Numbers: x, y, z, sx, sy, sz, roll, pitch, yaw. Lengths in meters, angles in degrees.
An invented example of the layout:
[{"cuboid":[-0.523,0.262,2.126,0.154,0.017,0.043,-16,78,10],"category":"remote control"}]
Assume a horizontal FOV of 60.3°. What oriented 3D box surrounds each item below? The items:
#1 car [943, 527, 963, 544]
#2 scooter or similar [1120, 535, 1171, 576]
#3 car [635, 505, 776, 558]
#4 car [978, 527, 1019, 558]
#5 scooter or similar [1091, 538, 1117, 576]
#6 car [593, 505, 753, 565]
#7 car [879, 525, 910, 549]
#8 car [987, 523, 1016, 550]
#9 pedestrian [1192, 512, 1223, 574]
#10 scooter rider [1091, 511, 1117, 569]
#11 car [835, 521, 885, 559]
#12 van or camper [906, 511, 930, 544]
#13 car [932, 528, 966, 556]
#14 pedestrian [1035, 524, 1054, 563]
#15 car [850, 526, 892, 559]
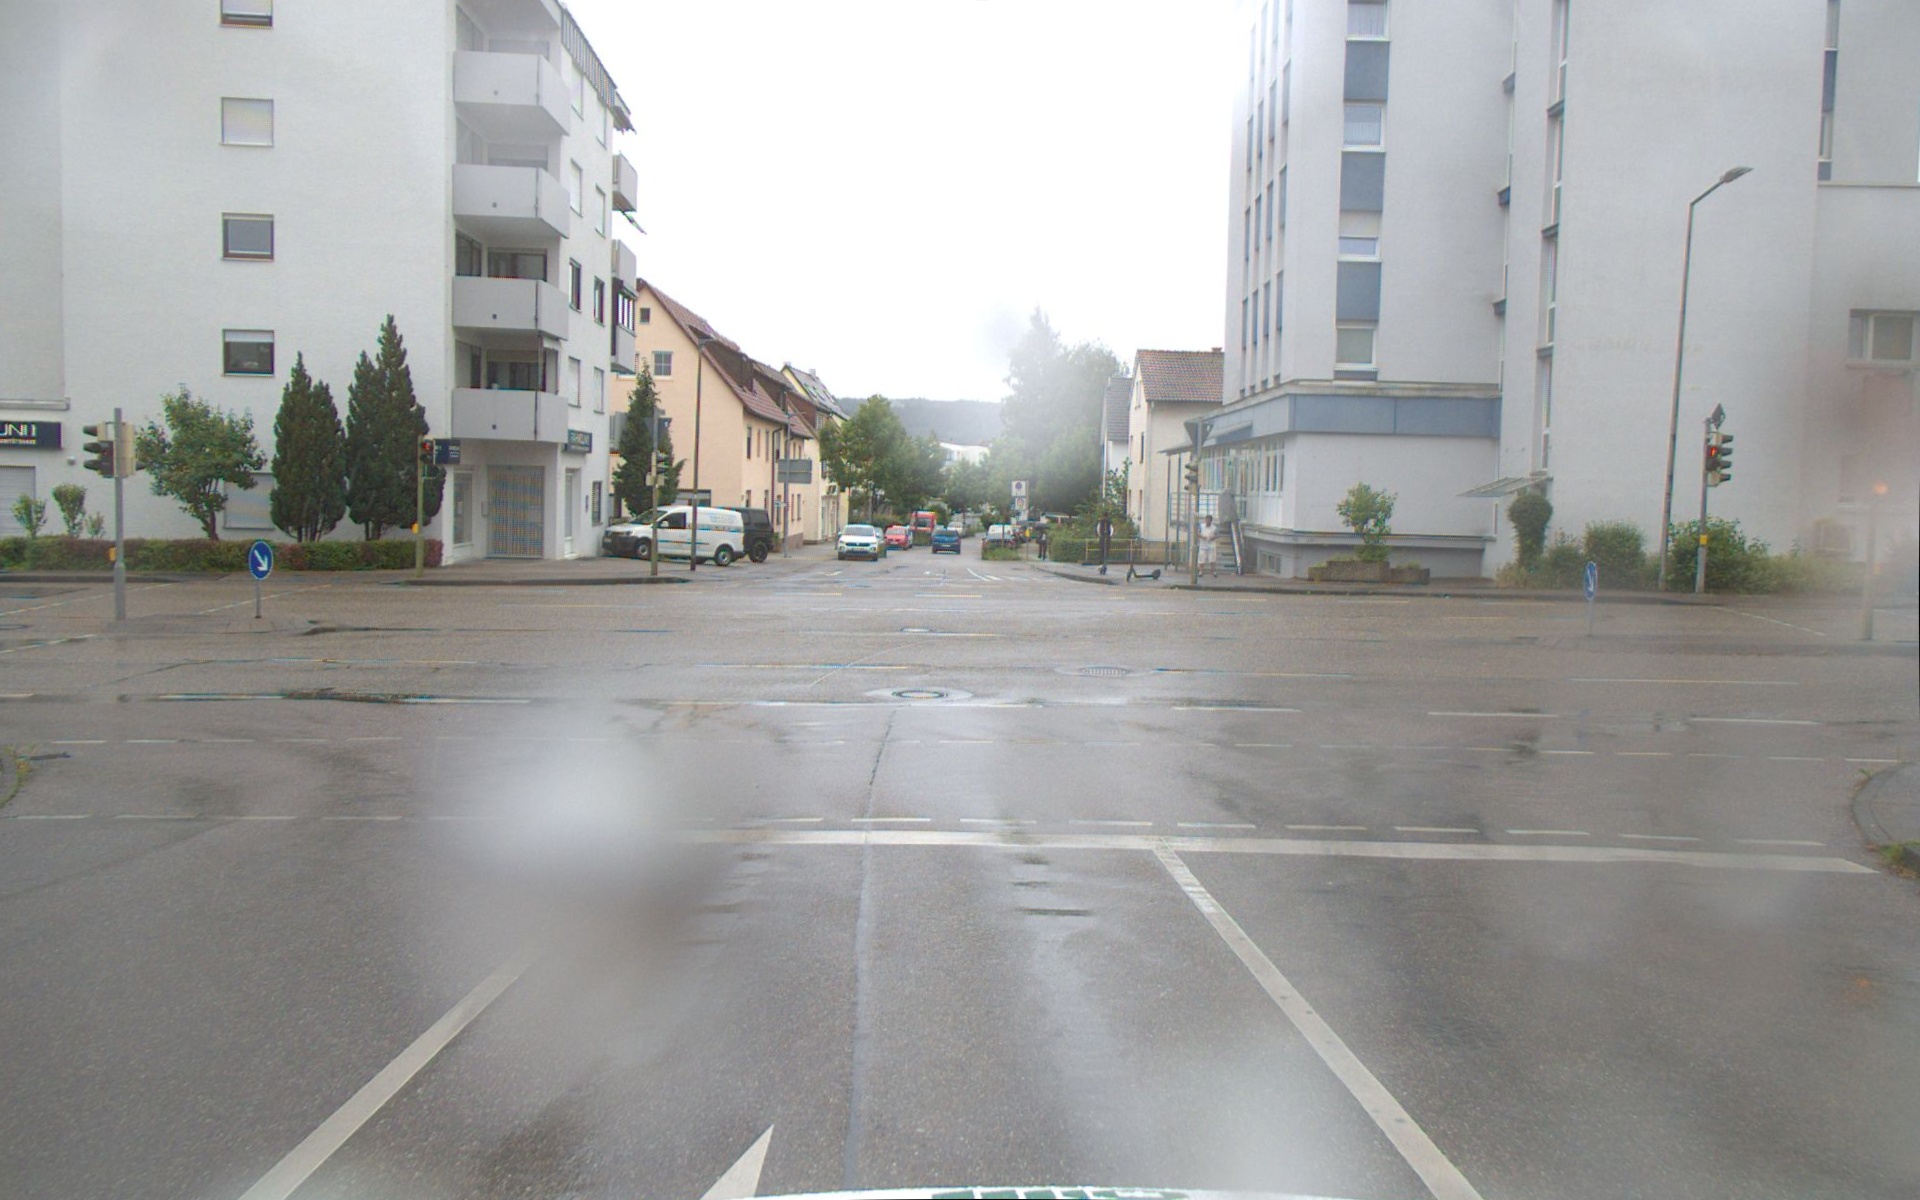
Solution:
[{"cuboid":[-0.693,-6.286,160.799,1.862,1.585,4.192,0,2,0],"category":"car"},{"cuboid":[5.017,-1.212,44.871,1.243,1.100,0.876,0,2,-5],"category":"scooter or similar"},{"cuboid":[-9.296,-2.505,60.662,4.796,1.867,1.973,-2,3,-39],"category":"car"},{"cuboid":[2.017,-3.063,87.597,2.102,1.616,4.129,0,2,0],"category":"car"},{"cuboid":[4.589,-1.372,52.826,0.741,1.191,1.315,0,2,1],"category":"scooter or similar"},{"cuboid":[-9.284,-2.100,53.698,4.796,1.867,1.973,-2,3,-39],"category":"car"},{"cuboid":[-4.347,-4.189,110.541,1.862,1.585,4.192,0,2,0],"category":"car"},{"cuboid":[2.736,-4.210,109.859,1.862,1.775,4.192,0,2,0],"category":"car"},{"cuboid":[6.878,-1.583,45.967,0.635,1.675,0.525,3,1,-7],"category":"pedestrian"},{"cuboid":[4.595,-1.907,52.806,0.736,1.827,0.673,0,2,-1],"category":"scooter rider"},{"cuboid":[-4.447,-2.696,74.096,1.952,1.654,4.192,0,2,0],"category":"car"},{"cuboid":[-3.363,-5.826,133.080,1.862,2.557,4.240,0,2,0],"category":"van or camper"},{"cuboid":[-0.719,-3.547,101.054,1.953,1.713,3.999,0,2,-2],"category":"car"},{"cuboid":[4.267,-2.859,83.588,0.731,1.880,0.525,3,1,-7],"category":"pedestrian"},{"cuboid":[-4.579,-2.968,85.497,1.952,1.654,4.192,0,2,0],"category":"car"}]
